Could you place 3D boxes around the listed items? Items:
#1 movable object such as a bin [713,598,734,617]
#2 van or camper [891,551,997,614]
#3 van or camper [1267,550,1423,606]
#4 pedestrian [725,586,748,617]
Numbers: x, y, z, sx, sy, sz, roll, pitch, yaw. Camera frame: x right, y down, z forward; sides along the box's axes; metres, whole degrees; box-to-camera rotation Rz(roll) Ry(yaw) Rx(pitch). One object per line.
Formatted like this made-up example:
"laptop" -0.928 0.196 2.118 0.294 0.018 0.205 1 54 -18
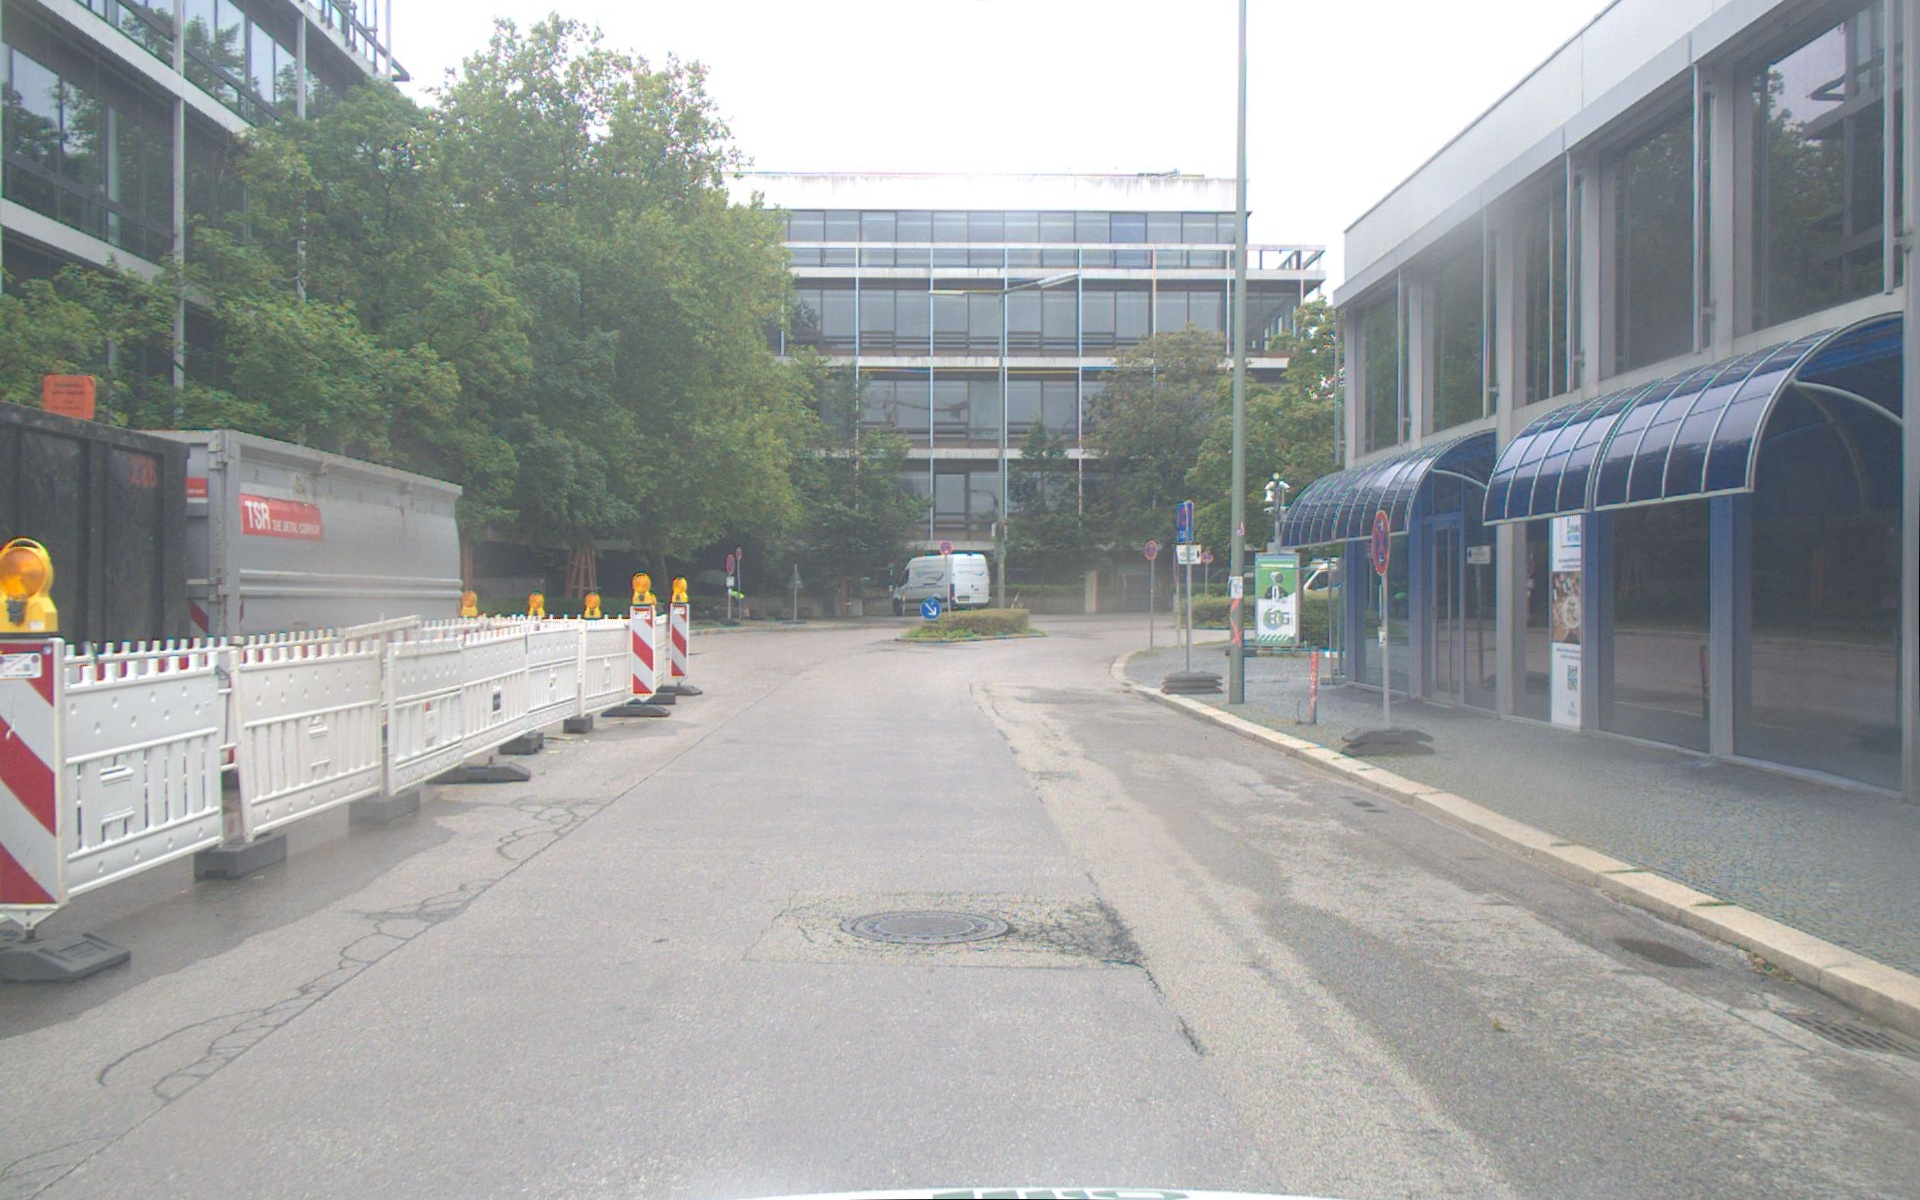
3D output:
"movable object such as a bin" -10.190 0.323 71.256 0.817 0.766 0.572 0 0 1
"van or camper" -0.776 -0.710 73.695 2.130 2.626 6.482 0 -1 -26
"van or camper" 16.571 -0.949 71.192 6.292 2.321 2.246 0 1 -16
"pedestrian" -9.635 0.071 71.306 0.907 1.300 0.542 0 0 1
